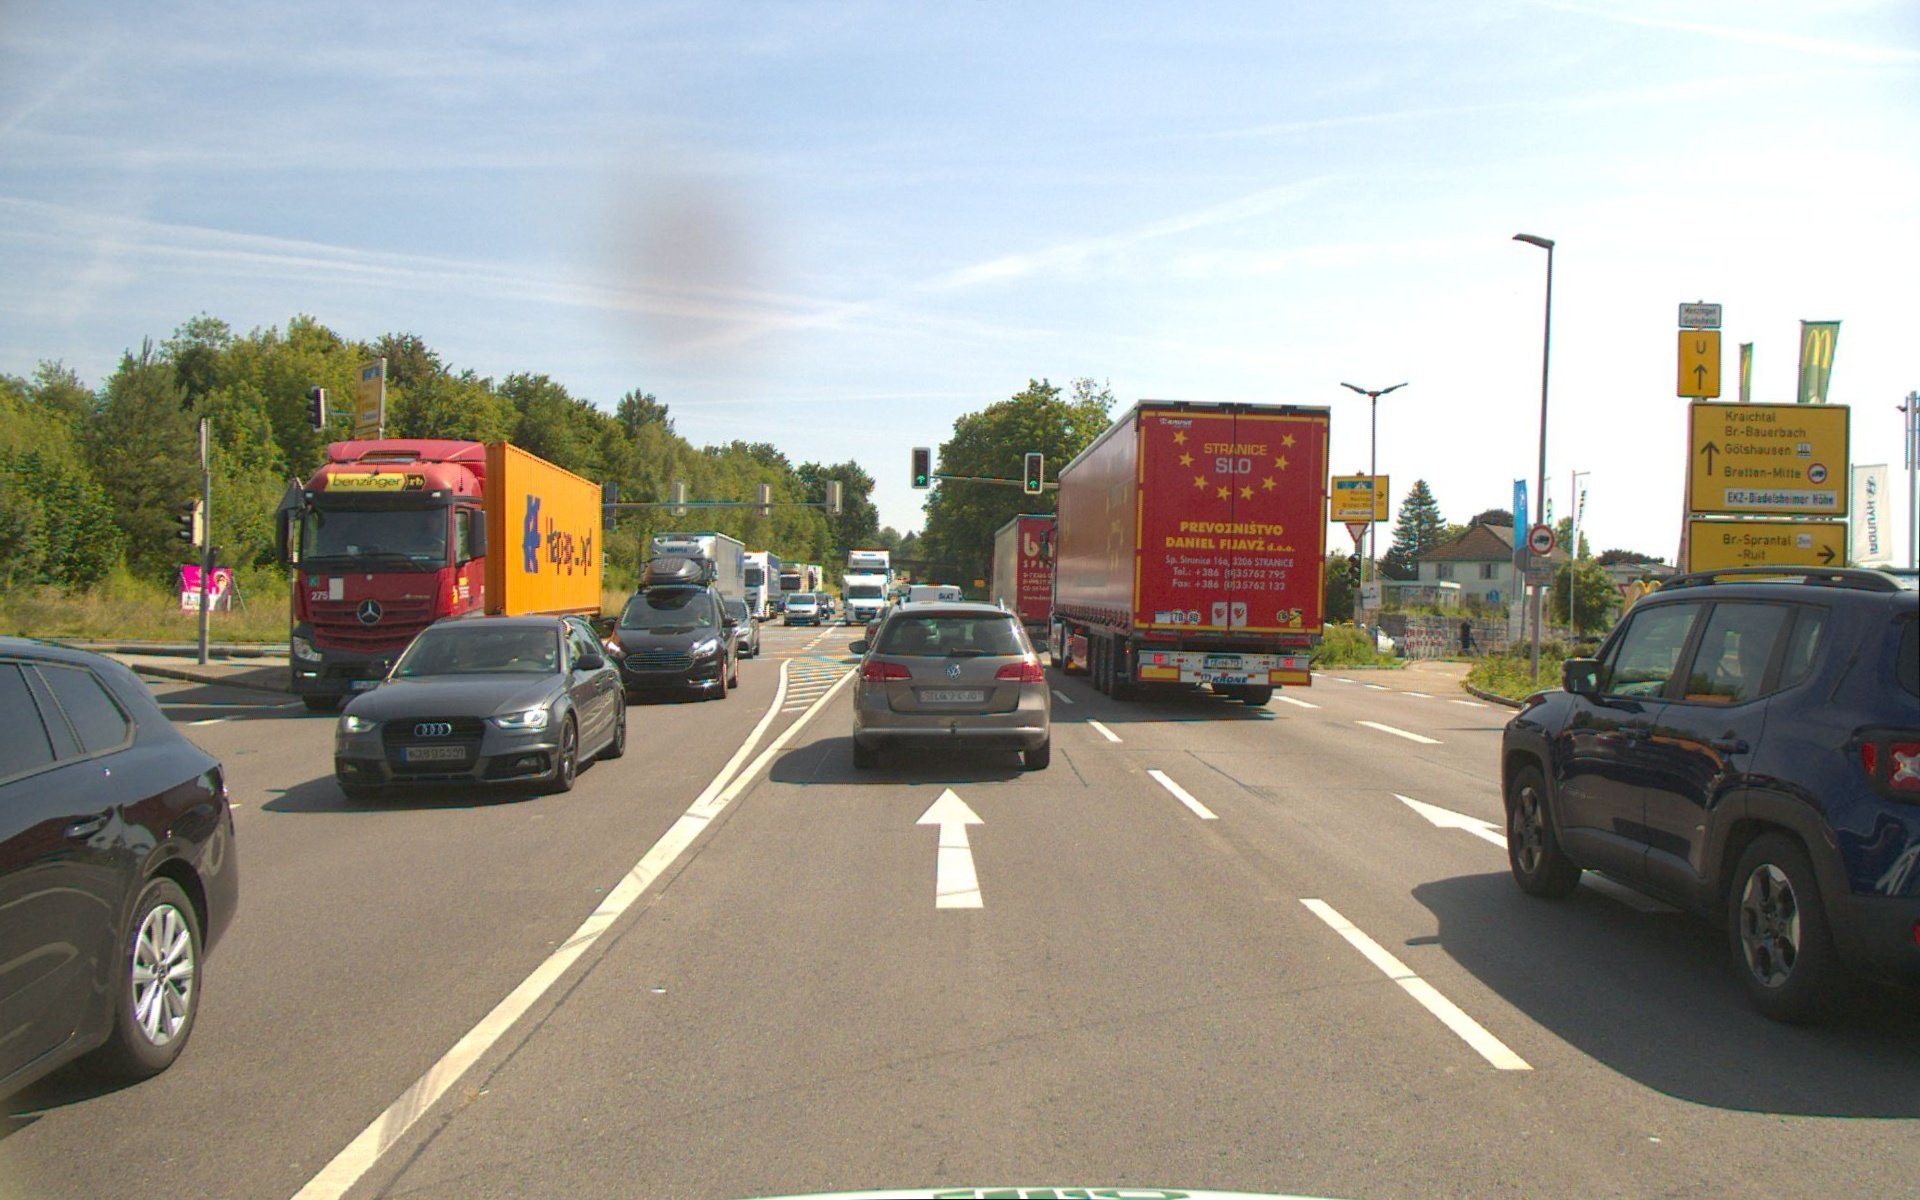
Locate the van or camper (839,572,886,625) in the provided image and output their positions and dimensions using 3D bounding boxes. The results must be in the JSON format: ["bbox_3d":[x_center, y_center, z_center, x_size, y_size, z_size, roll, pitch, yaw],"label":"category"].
[{"bbox_3d":[-5.003,-0.079,85.559,2.283,2.646,6.975,0,0,-2],"label":"van or camper"}]

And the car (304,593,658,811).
[{"bbox_3d":[-3.970,0.744,14.564,1.824,1.550,4.588,-1,1,-1],"label":"car"}]

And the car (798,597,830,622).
[{"bbox_3d":[-9.188,0.570,103.724,1.955,1.511,4.449,0,0,-5],"label":"car"}]

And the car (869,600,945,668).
[{"bbox_3d":[-1.322,0.769,39.663,1.735,1.539,3.997,0,0,-3],"label":"car"}]

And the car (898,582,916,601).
[{"bbox_3d":[-5.777,-0.918,179.944,1.954,2.049,3.997,0,0,-3],"label":"car"}]

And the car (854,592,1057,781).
[{"bbox_3d":[-0.147,0.699,15.505,1.658,1.539,3.997,0,0,-3],"label":"car"}]

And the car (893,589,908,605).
[{"bbox_3d":[-7.803,-0.347,215.798,1.954,2.049,3.997,0,0,-3],"label":"car"}]

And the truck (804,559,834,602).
[{"bbox_3d":[-14.109,-1.936,166.152,2.773,4.188,9.675,0,0,-4],"label":"truck"}]

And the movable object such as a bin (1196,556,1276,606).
[{"bbox_3d":[18.746,-1.254,112.107,2.841,3.264,6.684,0,0,34],"label":"movable object such as a bin"}]

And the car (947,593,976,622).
[{"bbox_3d":[0.109,0.543,121.572,1.954,2.049,3.997,0,0,-3],"label":"car"}]

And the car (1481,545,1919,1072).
[{"bbox_3d":[3.824,0.663,7.311,1.734,1.683,3.999,0,0,-1],"label":"car"}]

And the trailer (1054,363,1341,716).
[{"bbox_3d":[3.430,-0.779,27.865,2.781,4.441,13.166,2,0,0],"label":"trailer"}]

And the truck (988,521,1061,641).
[{"bbox_3d":[2.327,-0.667,60.993,2.357,4.200,5.520,0,0,-1],"label":"truck"}]

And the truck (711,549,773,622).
[{"bbox_3d":[-12.749,-0.829,97.317,3.124,4.151,6.341,0,0,-3],"label":"truck"}]

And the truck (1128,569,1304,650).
[{"bbox_3d":[14.555,0.575,94.041,9.527,3.691,2.752,6,-2,-20],"label":"truck"}]

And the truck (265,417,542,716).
[{"bbox_3d":[-8.363,-0.456,25.627,2.667,4.068,6.051,0,0,-5],"label":"truck"}]

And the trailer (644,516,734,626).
[{"bbox_3d":[-10.719,-1.121,65.928,2.591,4.177,6.180,0,0,-1],"label":"trailer"}]

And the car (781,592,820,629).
[{"bbox_3d":[-8.341,0.523,86.948,1.806,1.763,4.586,2,1,-3],"label":"car"}]

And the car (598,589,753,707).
[{"bbox_3d":[-4.398,0.671,26.183,1.870,1.630,4.586,-1,1,-3],"label":"car"}]

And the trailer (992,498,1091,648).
[{"bbox_3d":[2.484,-0.793,54.371,2.346,4.317,13.074,0,0,-1],"label":"trailer"}]

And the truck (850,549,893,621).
[{"bbox_3d":[-5.355,-0.883,99.267,2.487,4.159,6.260,0,0,-4],"label":"truck"}]

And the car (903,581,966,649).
[{"bbox_3d":[-0.805,0.442,50.148,1.735,1.970,3.975,0,0,-3],"label":"car"}]

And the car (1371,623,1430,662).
[{"bbox_3d":[19.740,1.899,73.990,1.741,1.602,3.703,3,0,27],"label":"car"}]

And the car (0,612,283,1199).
[{"bbox_3d":[-3.267,0.803,3.929,1.677,1.469,4.376,-2,0,-3],"label":"car"}]

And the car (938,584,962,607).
[{"bbox_3d":[-0.923,-0.433,148.386,1.954,2.049,3.997,0,0,-3],"label":"car"}]

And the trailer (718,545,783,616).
[{"bbox_3d":[-13.081,-1.160,104.357,3.031,4.151,14.118,0,0,-3],"label":"trailer"}]

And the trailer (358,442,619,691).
[{"bbox_3d":[-8.964,-0.554,33.163,2.667,4.068,12.222,0,0,-5],"label":"trailer"}]

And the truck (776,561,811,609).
[{"bbox_3d":[-14.765,-1.286,147.219,2.675,4.069,9.613,0,0,-3],"label":"truck"}]

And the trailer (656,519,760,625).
[{"bbox_3d":[-10.828,-1.130,72.565,2.637,4.220,13.876,0,0,-1],"label":"trailer"}]

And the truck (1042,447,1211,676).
[{"bbox_3d":[3.388,-0.746,35.077,2.812,4.355,5.838,2,0,-1],"label":"truck"}]

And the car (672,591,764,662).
[{"bbox_3d":[-6.056,0.616,41.872,1.883,1.630,4.586,-1,1,-3],"label":"car"}]
